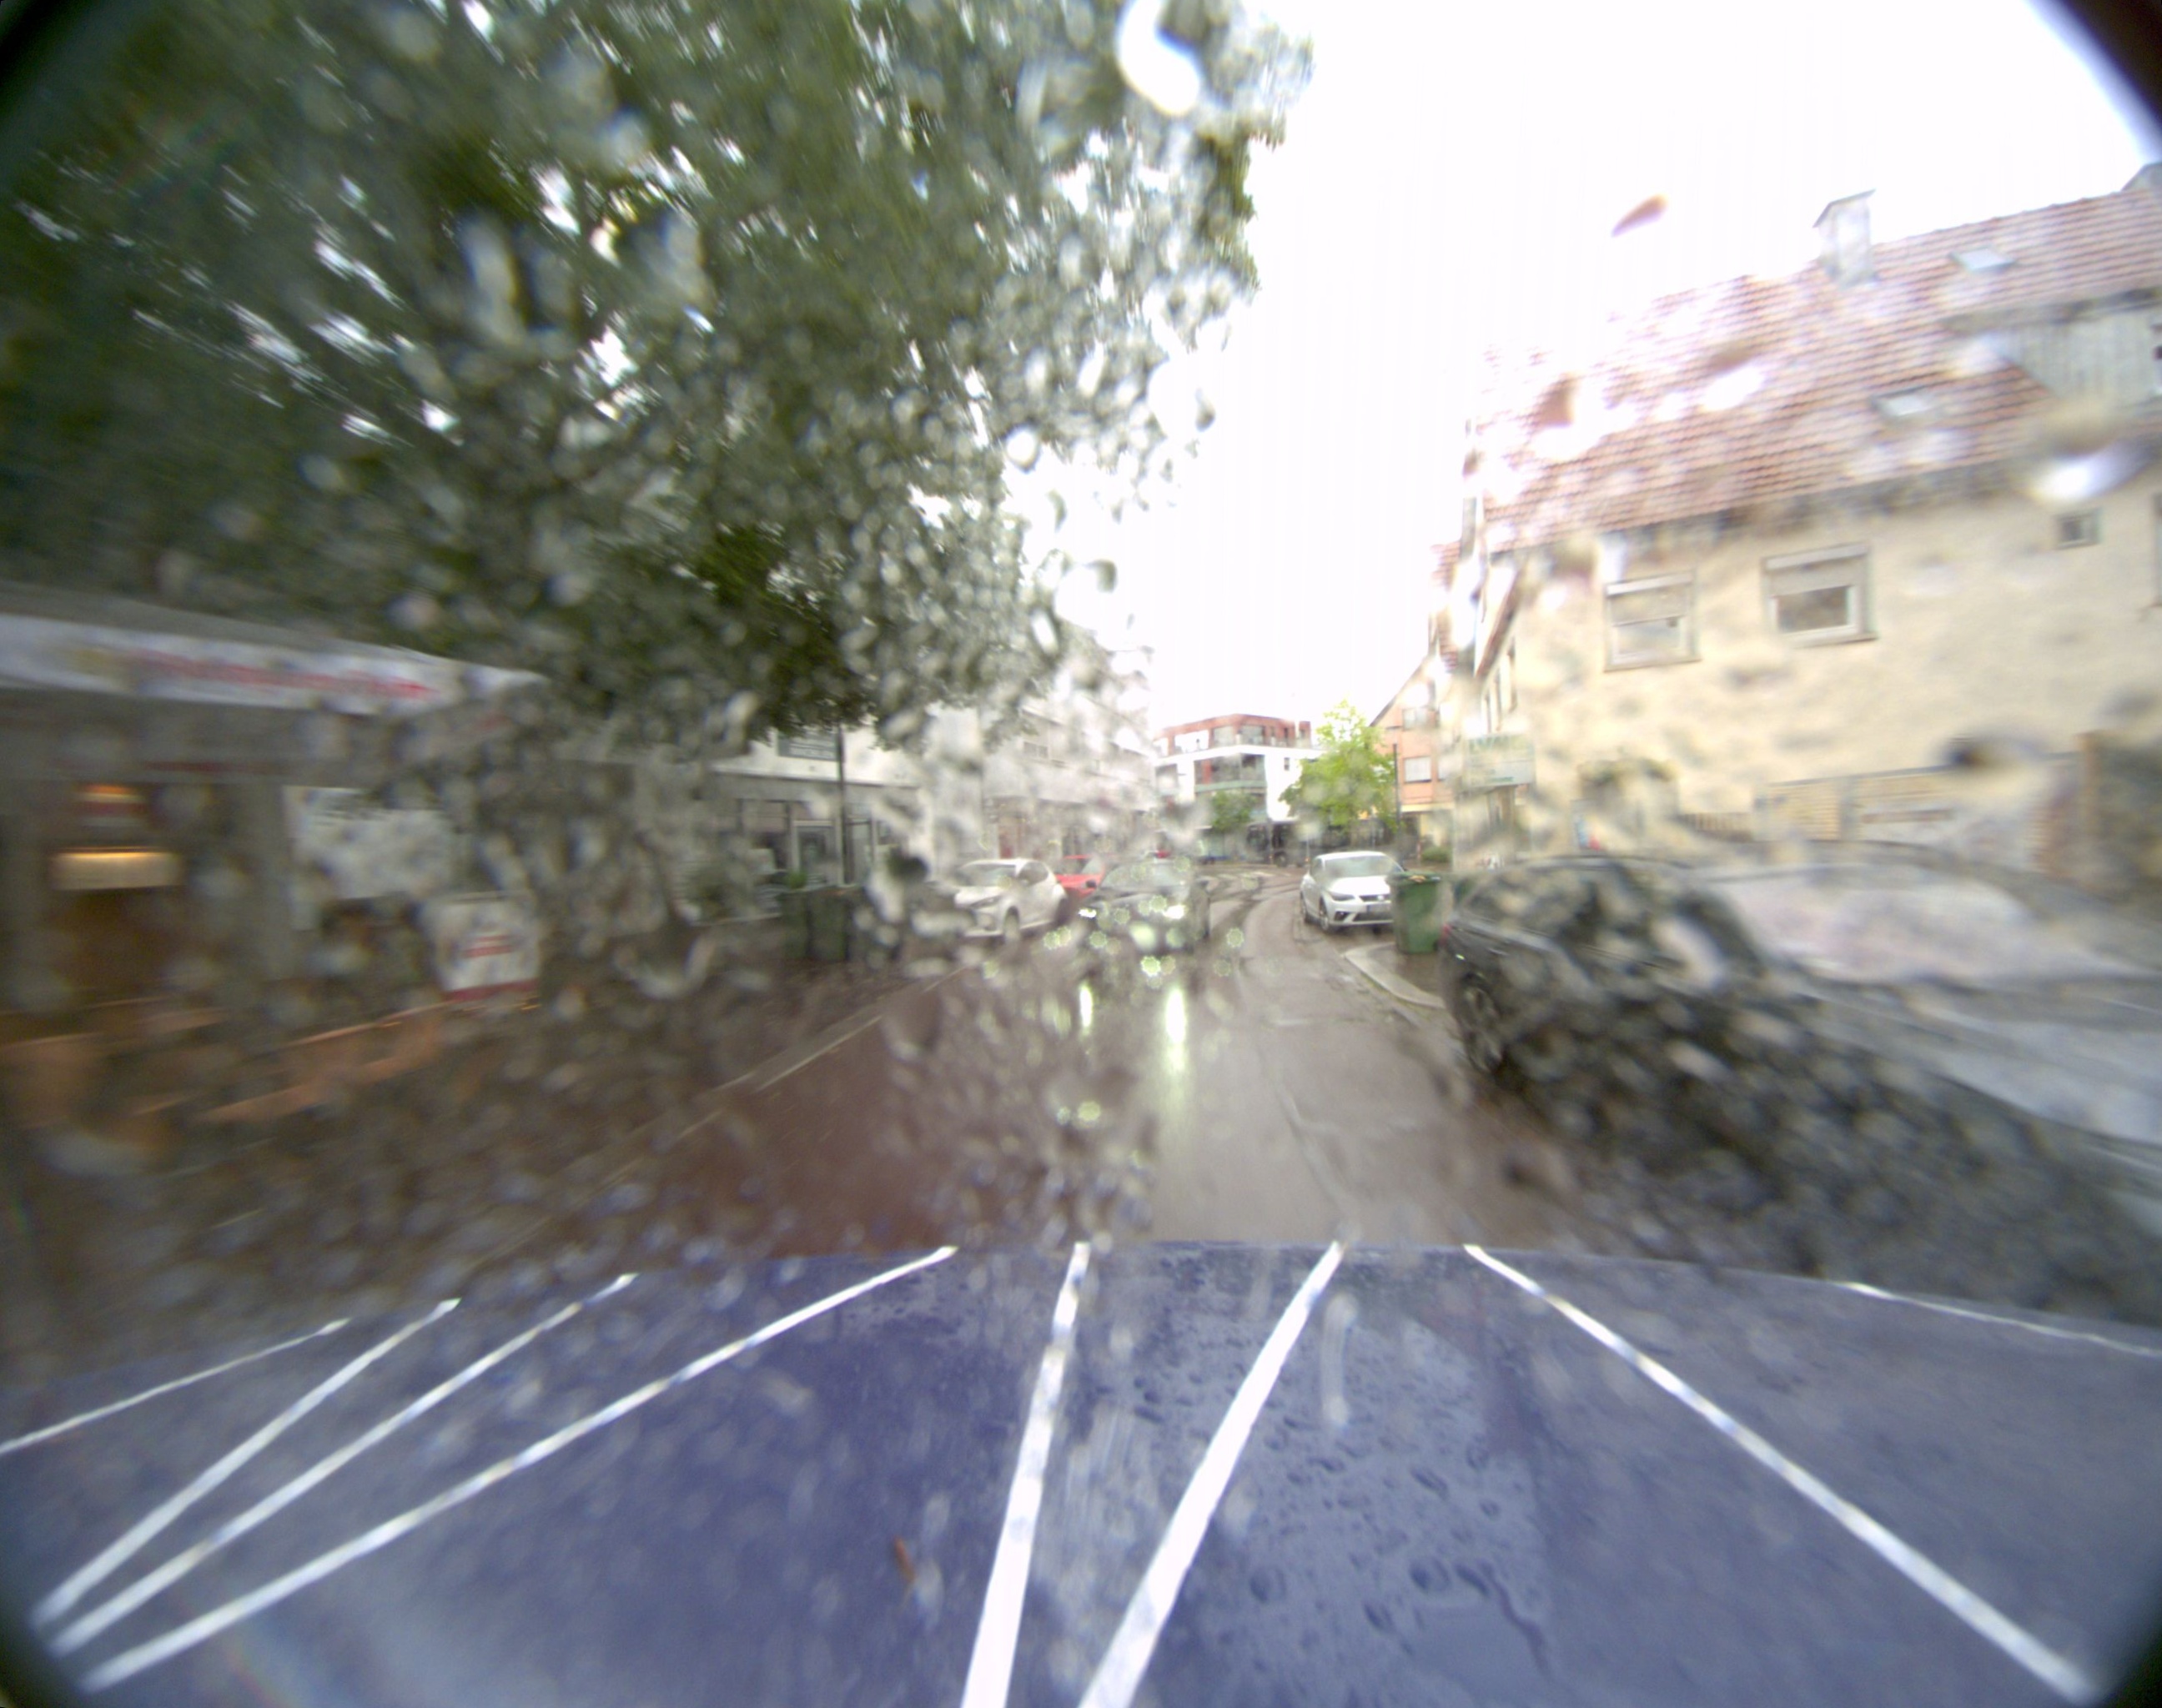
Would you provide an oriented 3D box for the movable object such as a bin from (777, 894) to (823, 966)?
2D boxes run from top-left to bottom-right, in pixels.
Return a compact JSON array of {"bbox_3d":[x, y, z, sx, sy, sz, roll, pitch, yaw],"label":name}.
[{"bbox_3d":[-4.341,1.168,11.757,0.431,1.041,0.501,-2,1,10],"label":"movable object such as a bin"}]

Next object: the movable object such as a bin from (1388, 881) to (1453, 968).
[{"bbox_3d":[4.574,0.940,10.275,0.660,1.103,0.624,-2,1,11],"label":"movable object such as a bin"}]

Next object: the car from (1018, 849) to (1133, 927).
[{"bbox_3d":[-0.014,0.780,19.348,1.692,1.680,3.962,-2,1,18],"label":"car"}]

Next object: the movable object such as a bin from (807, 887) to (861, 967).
[{"bbox_3d":[-3.702,1.088,11.427,0.504,1.143,0.581,-2,1,10],"label":"movable object such as a bin"}]

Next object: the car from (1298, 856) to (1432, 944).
[{"bbox_3d":[5.301,0.783,14.646,1.693,1.414,3.819,-2,0,10],"label":"car"}]

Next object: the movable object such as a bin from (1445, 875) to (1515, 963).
[{"bbox_3d":[5.330,0.857,10.173,0.660,1.103,0.624,-2,1,11],"label":"movable object such as a bin"}]

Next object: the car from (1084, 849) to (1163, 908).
[{"bbox_3d":[1.513,0.749,25.144,1.692,1.680,4.282,-2,1,15],"label":"car"}]

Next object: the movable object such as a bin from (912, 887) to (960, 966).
[{"bbox_3d":[-2.226,1.108,11.686,0.534,1.143,0.501,-2,1,10],"label":"movable object such as a bin"}]

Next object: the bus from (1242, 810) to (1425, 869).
[{"bbox_3d":[15.270,-0.796,46.993,2.685,3.281,10.663,-3,2,-44],"label":"bus"}]

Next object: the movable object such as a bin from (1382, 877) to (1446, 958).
[{"bbox_3d":[4.789,0.905,10.962,0.693,1.080,0.547,-4,1,11],"label":"movable object such as a bin"}]

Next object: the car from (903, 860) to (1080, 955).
[{"bbox_3d":[-1.534,0.923,14.839,1.692,1.530,4.409,-2,-1,18],"label":"car"}]

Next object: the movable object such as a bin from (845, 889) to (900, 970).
[{"bbox_3d":[-3.117,1.114,11.368,0.545,1.143,0.586,-2,1,10],"label":"movable object such as a bin"}]

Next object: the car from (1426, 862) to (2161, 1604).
[{"bbox_3d":[3.428,0.854,3.335,1.998,1.446,4.374,-2,1,3],"label":"car"}]

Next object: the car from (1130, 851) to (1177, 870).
[{"bbox_3d":[6.393,0.601,67.417,1.722,1.565,3.989,-3,1,-43],"label":"car"}]

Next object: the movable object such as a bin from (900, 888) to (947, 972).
[{"bbox_3d":[-2.295,1.103,11.090,0.477,1.162,0.489,-2,1,10],"label":"movable object such as a bin"}]

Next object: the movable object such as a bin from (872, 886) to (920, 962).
[{"bbox_3d":[-2.914,1.097,11.968,0.531,1.143,0.501,-2,1,10],"label":"movable object such as a bin"}]

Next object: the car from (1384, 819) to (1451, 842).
[{"bbox_3d":[24.154,-1.665,54.537,3.989,1.477,2.004,-1,1,39],"label":"car"}]

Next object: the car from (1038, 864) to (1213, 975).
[{"bbox_3d":[0.996,0.953,12.835,1.996,1.398,4.899,-3,0,14],"label":"car"}]

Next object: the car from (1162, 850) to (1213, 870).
[{"bbox_3d":[8.826,0.523,63.382,1.722,1.565,3.989,-3,1,-43],"label":"car"}]
